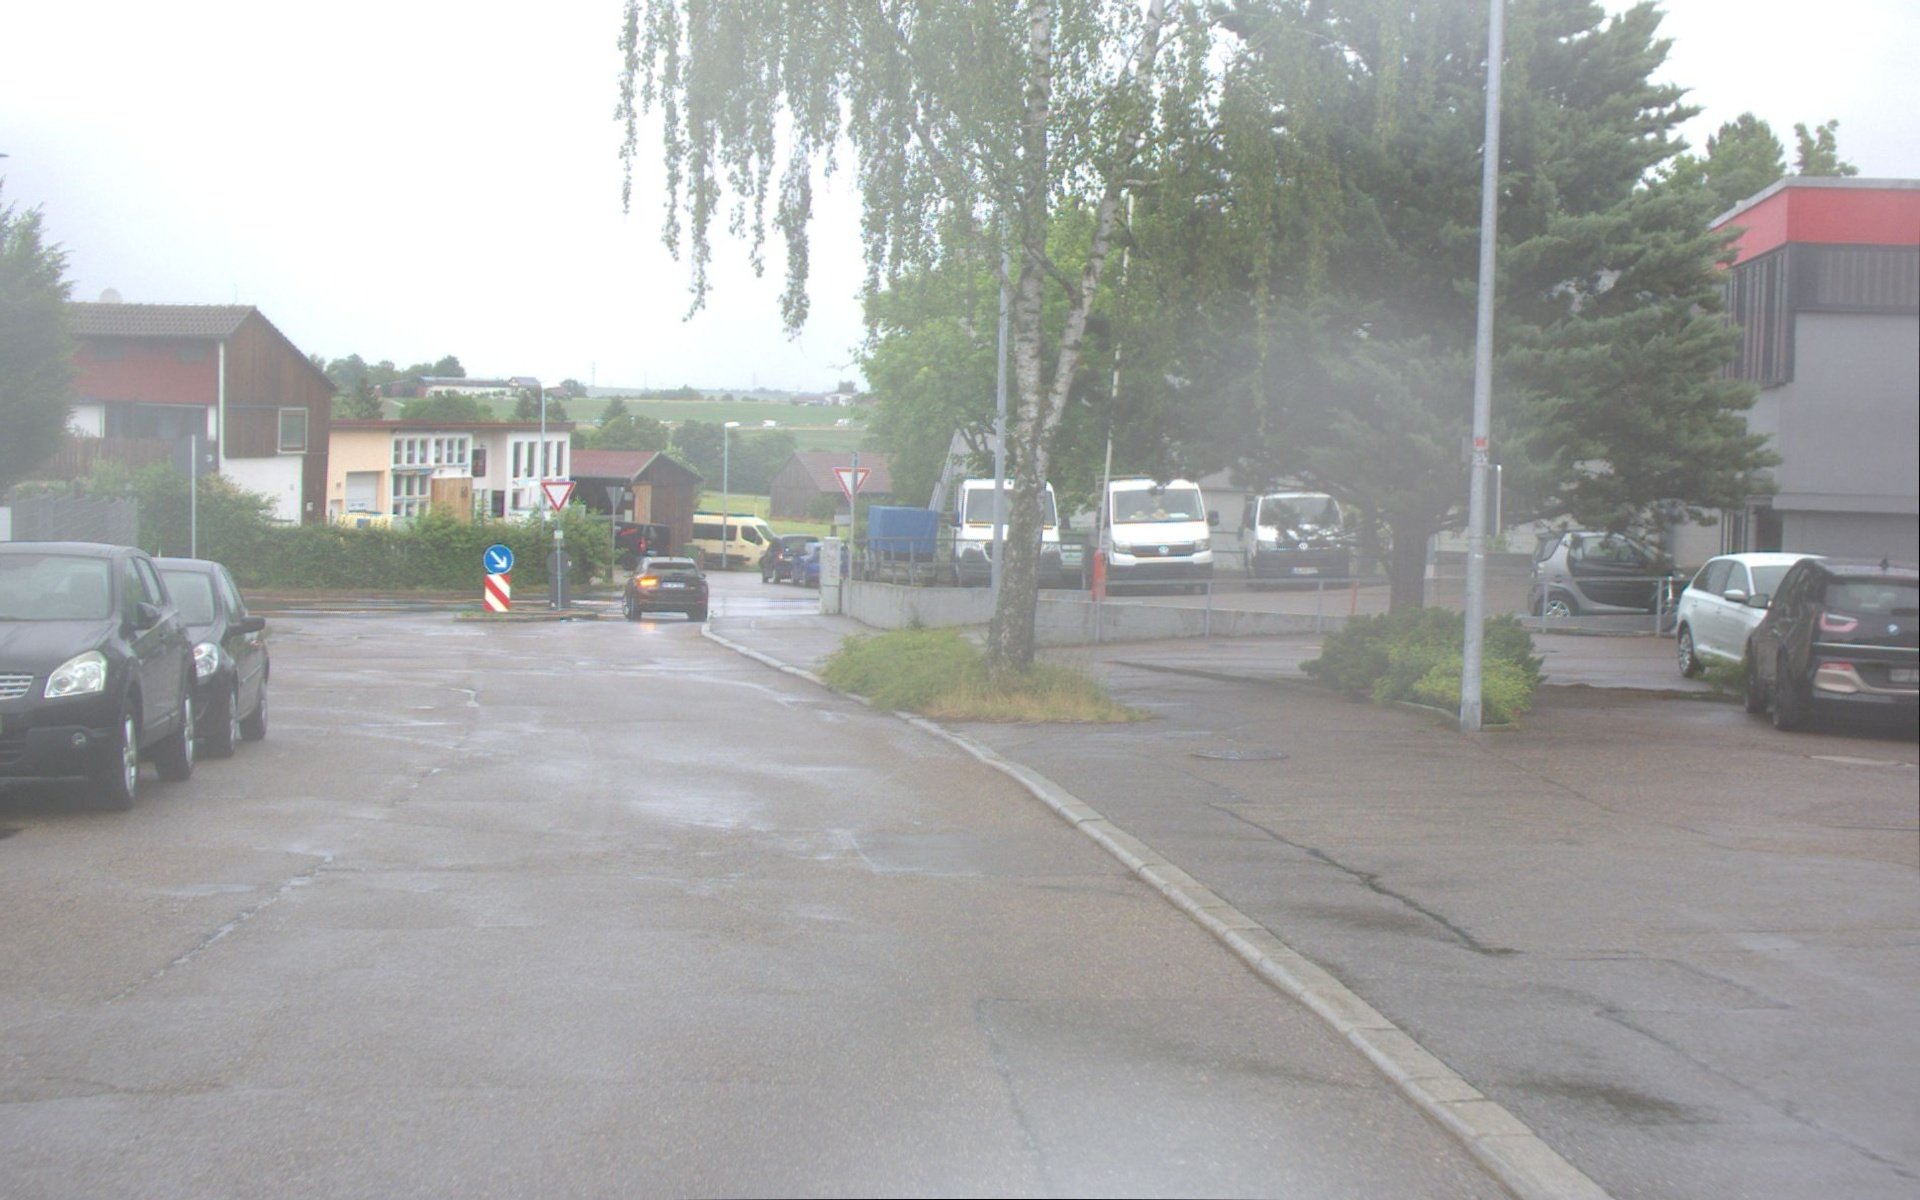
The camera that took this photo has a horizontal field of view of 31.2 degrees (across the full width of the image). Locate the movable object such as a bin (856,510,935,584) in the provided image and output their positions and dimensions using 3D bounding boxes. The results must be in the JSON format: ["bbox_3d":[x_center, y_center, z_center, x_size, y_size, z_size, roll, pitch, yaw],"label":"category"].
[{"bbox_3d":[-1.338,-1.086,70.835,1.306,1.495,1.859,1,0,-12],"label":"movable object such as a bin"}]

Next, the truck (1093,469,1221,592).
[{"bbox_3d":[3.859,-1.344,68.114,2.242,2.334,4.837,0,1,0],"label":"truck"}]

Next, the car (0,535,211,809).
[{"bbox_3d":[-5.809,0.374,21.616,1.632,1.552,4.085,1,1,-5],"label":"car"}]

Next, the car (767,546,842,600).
[{"bbox_3d":[-5.496,-0.970,120.729,2.073,1.828,4.472,1,1,-10],"label":"car"}]

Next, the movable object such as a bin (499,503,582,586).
[{"bbox_3d":[-13.192,-1.731,108.256,1.733,2.548,3.338,1,1,9],"label":"movable object such as a bin"}]

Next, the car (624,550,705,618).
[{"bbox_3d":[-6.958,-0.385,80.558,1.755,1.529,4.001,1,1,-7],"label":"car"}]

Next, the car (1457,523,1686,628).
[{"bbox_3d":[11.002,-0.454,62.025,3.925,1.732,1.858,-2,2,7],"label":"car"}]

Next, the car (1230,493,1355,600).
[{"bbox_3d":[6.561,-1.050,68.347,2.056,2.007,4.938,1,1,1],"label":"car"}]

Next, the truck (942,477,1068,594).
[{"bbox_3d":[0.850,-1.254,68.456,2.105,2.206,5.654,1,1,-3],"label":"truck"}]

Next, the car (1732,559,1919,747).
[{"bbox_3d":[8.415,0.454,32.102,1.996,1.573,4.510,3,1,9],"label":"car"}]

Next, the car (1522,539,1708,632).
[{"bbox_3d":[10.279,-0.233,54.072,2.712,1.441,1.678,0,0,5],"label":"car"}]

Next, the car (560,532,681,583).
[{"bbox_3d":[-13.017,-1.624,131.702,4.405,1.898,1.996,1,1,37],"label":"car"}]

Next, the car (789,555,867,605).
[{"bbox_3d":[-4.413,-0.667,114.397,1.951,1.604,4.448,1,1,-11],"label":"car"}]

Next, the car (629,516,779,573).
[{"bbox_3d":[-11.135,-2.401,149.652,6.013,2.407,2.461,1,0,15],"label":"car"}]

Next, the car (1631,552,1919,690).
[{"bbox_3d":[9.178,0.197,39.045,1.903,1.465,4.330,0,1,-5],"label":"car"}]

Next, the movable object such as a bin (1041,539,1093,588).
[{"bbox_3d":[2.289,-0.778,73.267,1.050,1.039,0.884,1,0,4],"label":"movable object such as a bin"}]

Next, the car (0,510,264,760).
[{"bbox_3d":[-6.432,0.231,26.823,1.739,1.791,3.959,1,1,-8],"label":"car"}]
